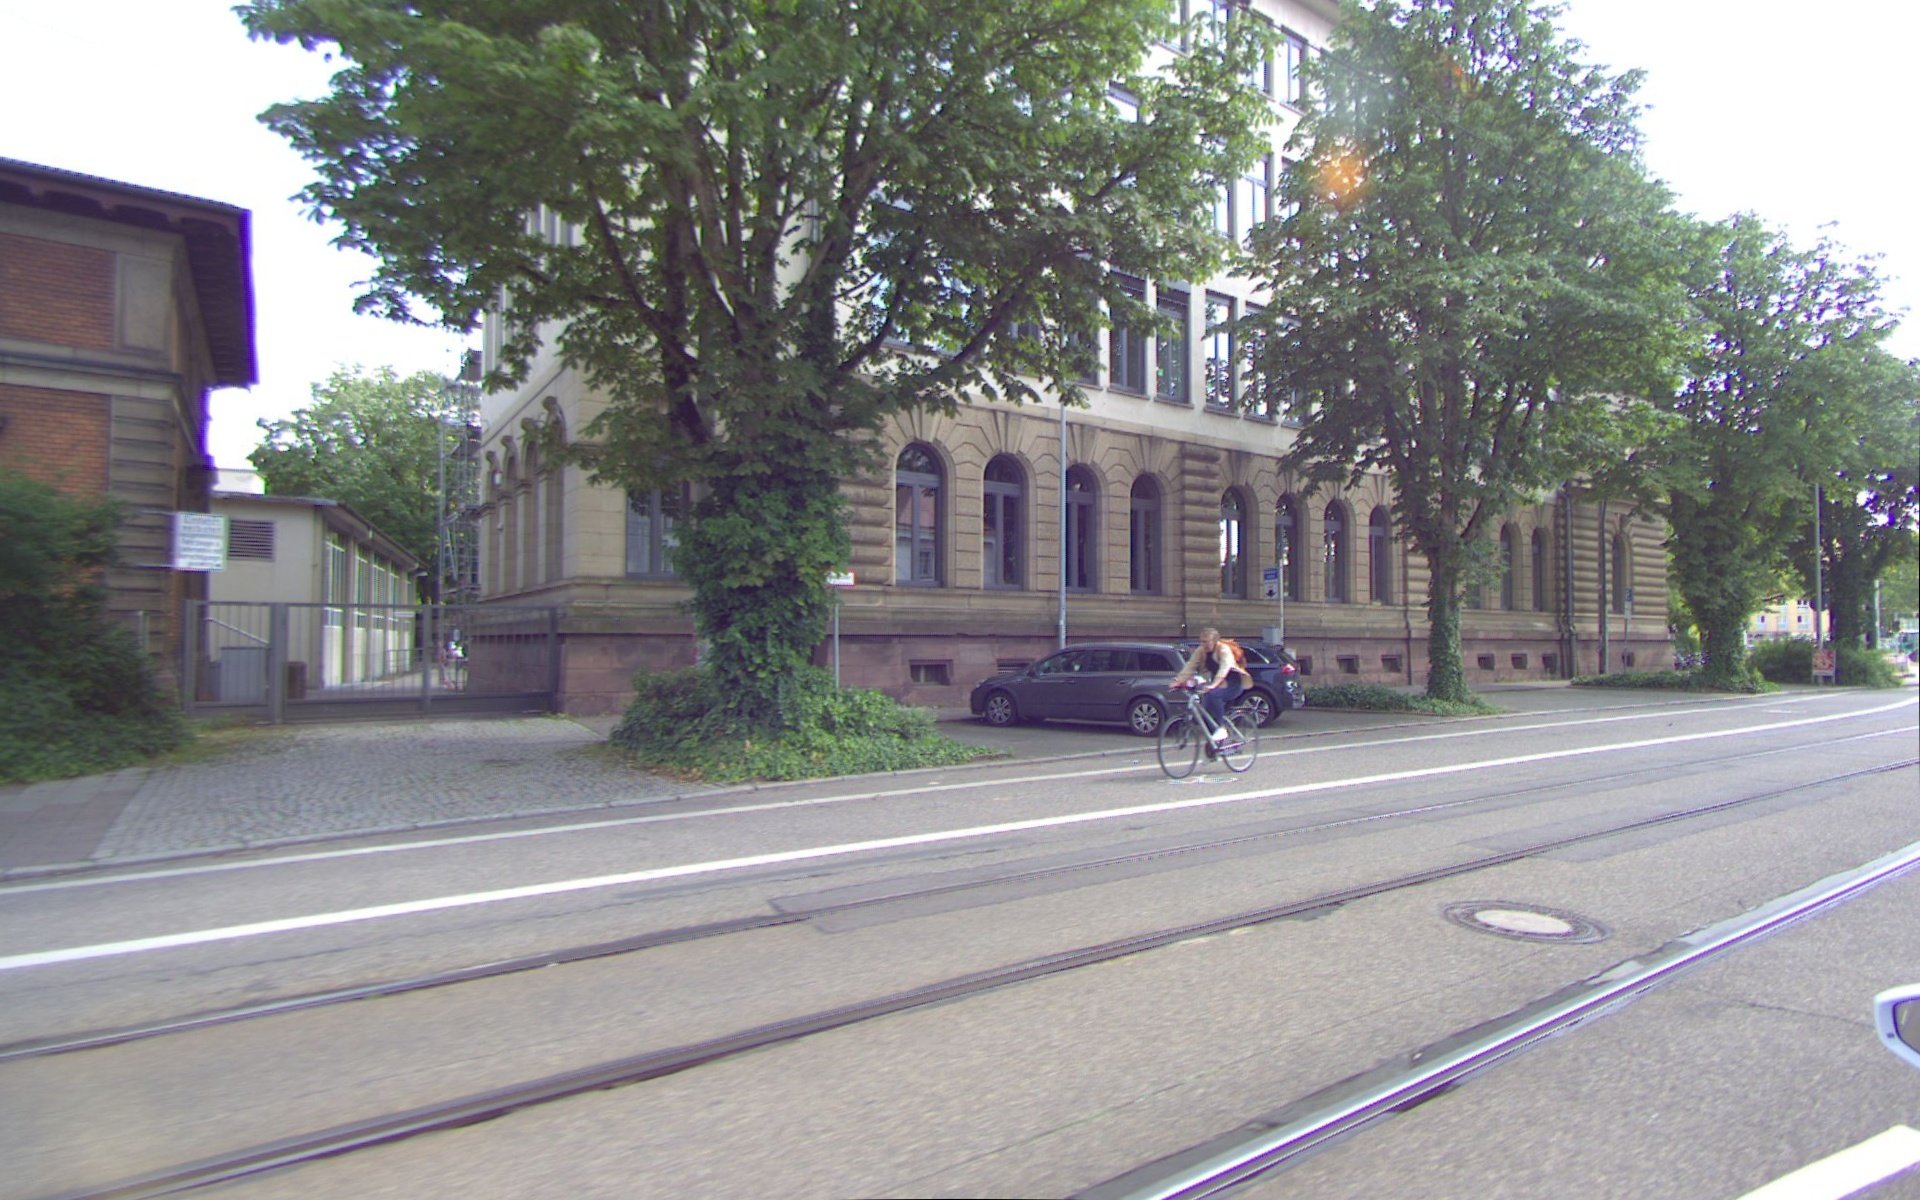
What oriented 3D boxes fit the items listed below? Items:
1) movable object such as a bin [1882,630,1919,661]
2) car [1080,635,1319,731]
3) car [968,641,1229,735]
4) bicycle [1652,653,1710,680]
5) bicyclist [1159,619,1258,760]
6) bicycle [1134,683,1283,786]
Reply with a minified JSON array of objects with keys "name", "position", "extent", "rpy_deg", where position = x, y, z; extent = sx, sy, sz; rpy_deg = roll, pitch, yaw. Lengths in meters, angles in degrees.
[{"name":"movable object such as a bin","position":[83.234,3.987,88.025],"extent":[3.957,2.608,2.628],"rpy_deg":[2,-3,-32]},{"name":"car","position":[4.569,1.503,19.151],"extent":[4.161,1.571,1.926],"rpy_deg":[0,-1,25]},{"name":"car","position":[2.385,1.449,17.505],"extent":[4.164,1.466,1.791],"rpy_deg":[-1,-2,28]},{"name":"bicycle","position":[33.996,3.102,47.380],"extent":[0.723,1.183,2.100],"rpy_deg":[2,-2,-35]},{"name":"bicyclist","position":[2.840,1.004,11.493],"extent":[0.860,1.539,0.686],"rpy_deg":[2,-4,-38]},{"name":"bicycle","position":[2.859,1.496,11.474],"extent":[1.803,1.030,0.693],"rpy_deg":[2,-4,-39]}]
